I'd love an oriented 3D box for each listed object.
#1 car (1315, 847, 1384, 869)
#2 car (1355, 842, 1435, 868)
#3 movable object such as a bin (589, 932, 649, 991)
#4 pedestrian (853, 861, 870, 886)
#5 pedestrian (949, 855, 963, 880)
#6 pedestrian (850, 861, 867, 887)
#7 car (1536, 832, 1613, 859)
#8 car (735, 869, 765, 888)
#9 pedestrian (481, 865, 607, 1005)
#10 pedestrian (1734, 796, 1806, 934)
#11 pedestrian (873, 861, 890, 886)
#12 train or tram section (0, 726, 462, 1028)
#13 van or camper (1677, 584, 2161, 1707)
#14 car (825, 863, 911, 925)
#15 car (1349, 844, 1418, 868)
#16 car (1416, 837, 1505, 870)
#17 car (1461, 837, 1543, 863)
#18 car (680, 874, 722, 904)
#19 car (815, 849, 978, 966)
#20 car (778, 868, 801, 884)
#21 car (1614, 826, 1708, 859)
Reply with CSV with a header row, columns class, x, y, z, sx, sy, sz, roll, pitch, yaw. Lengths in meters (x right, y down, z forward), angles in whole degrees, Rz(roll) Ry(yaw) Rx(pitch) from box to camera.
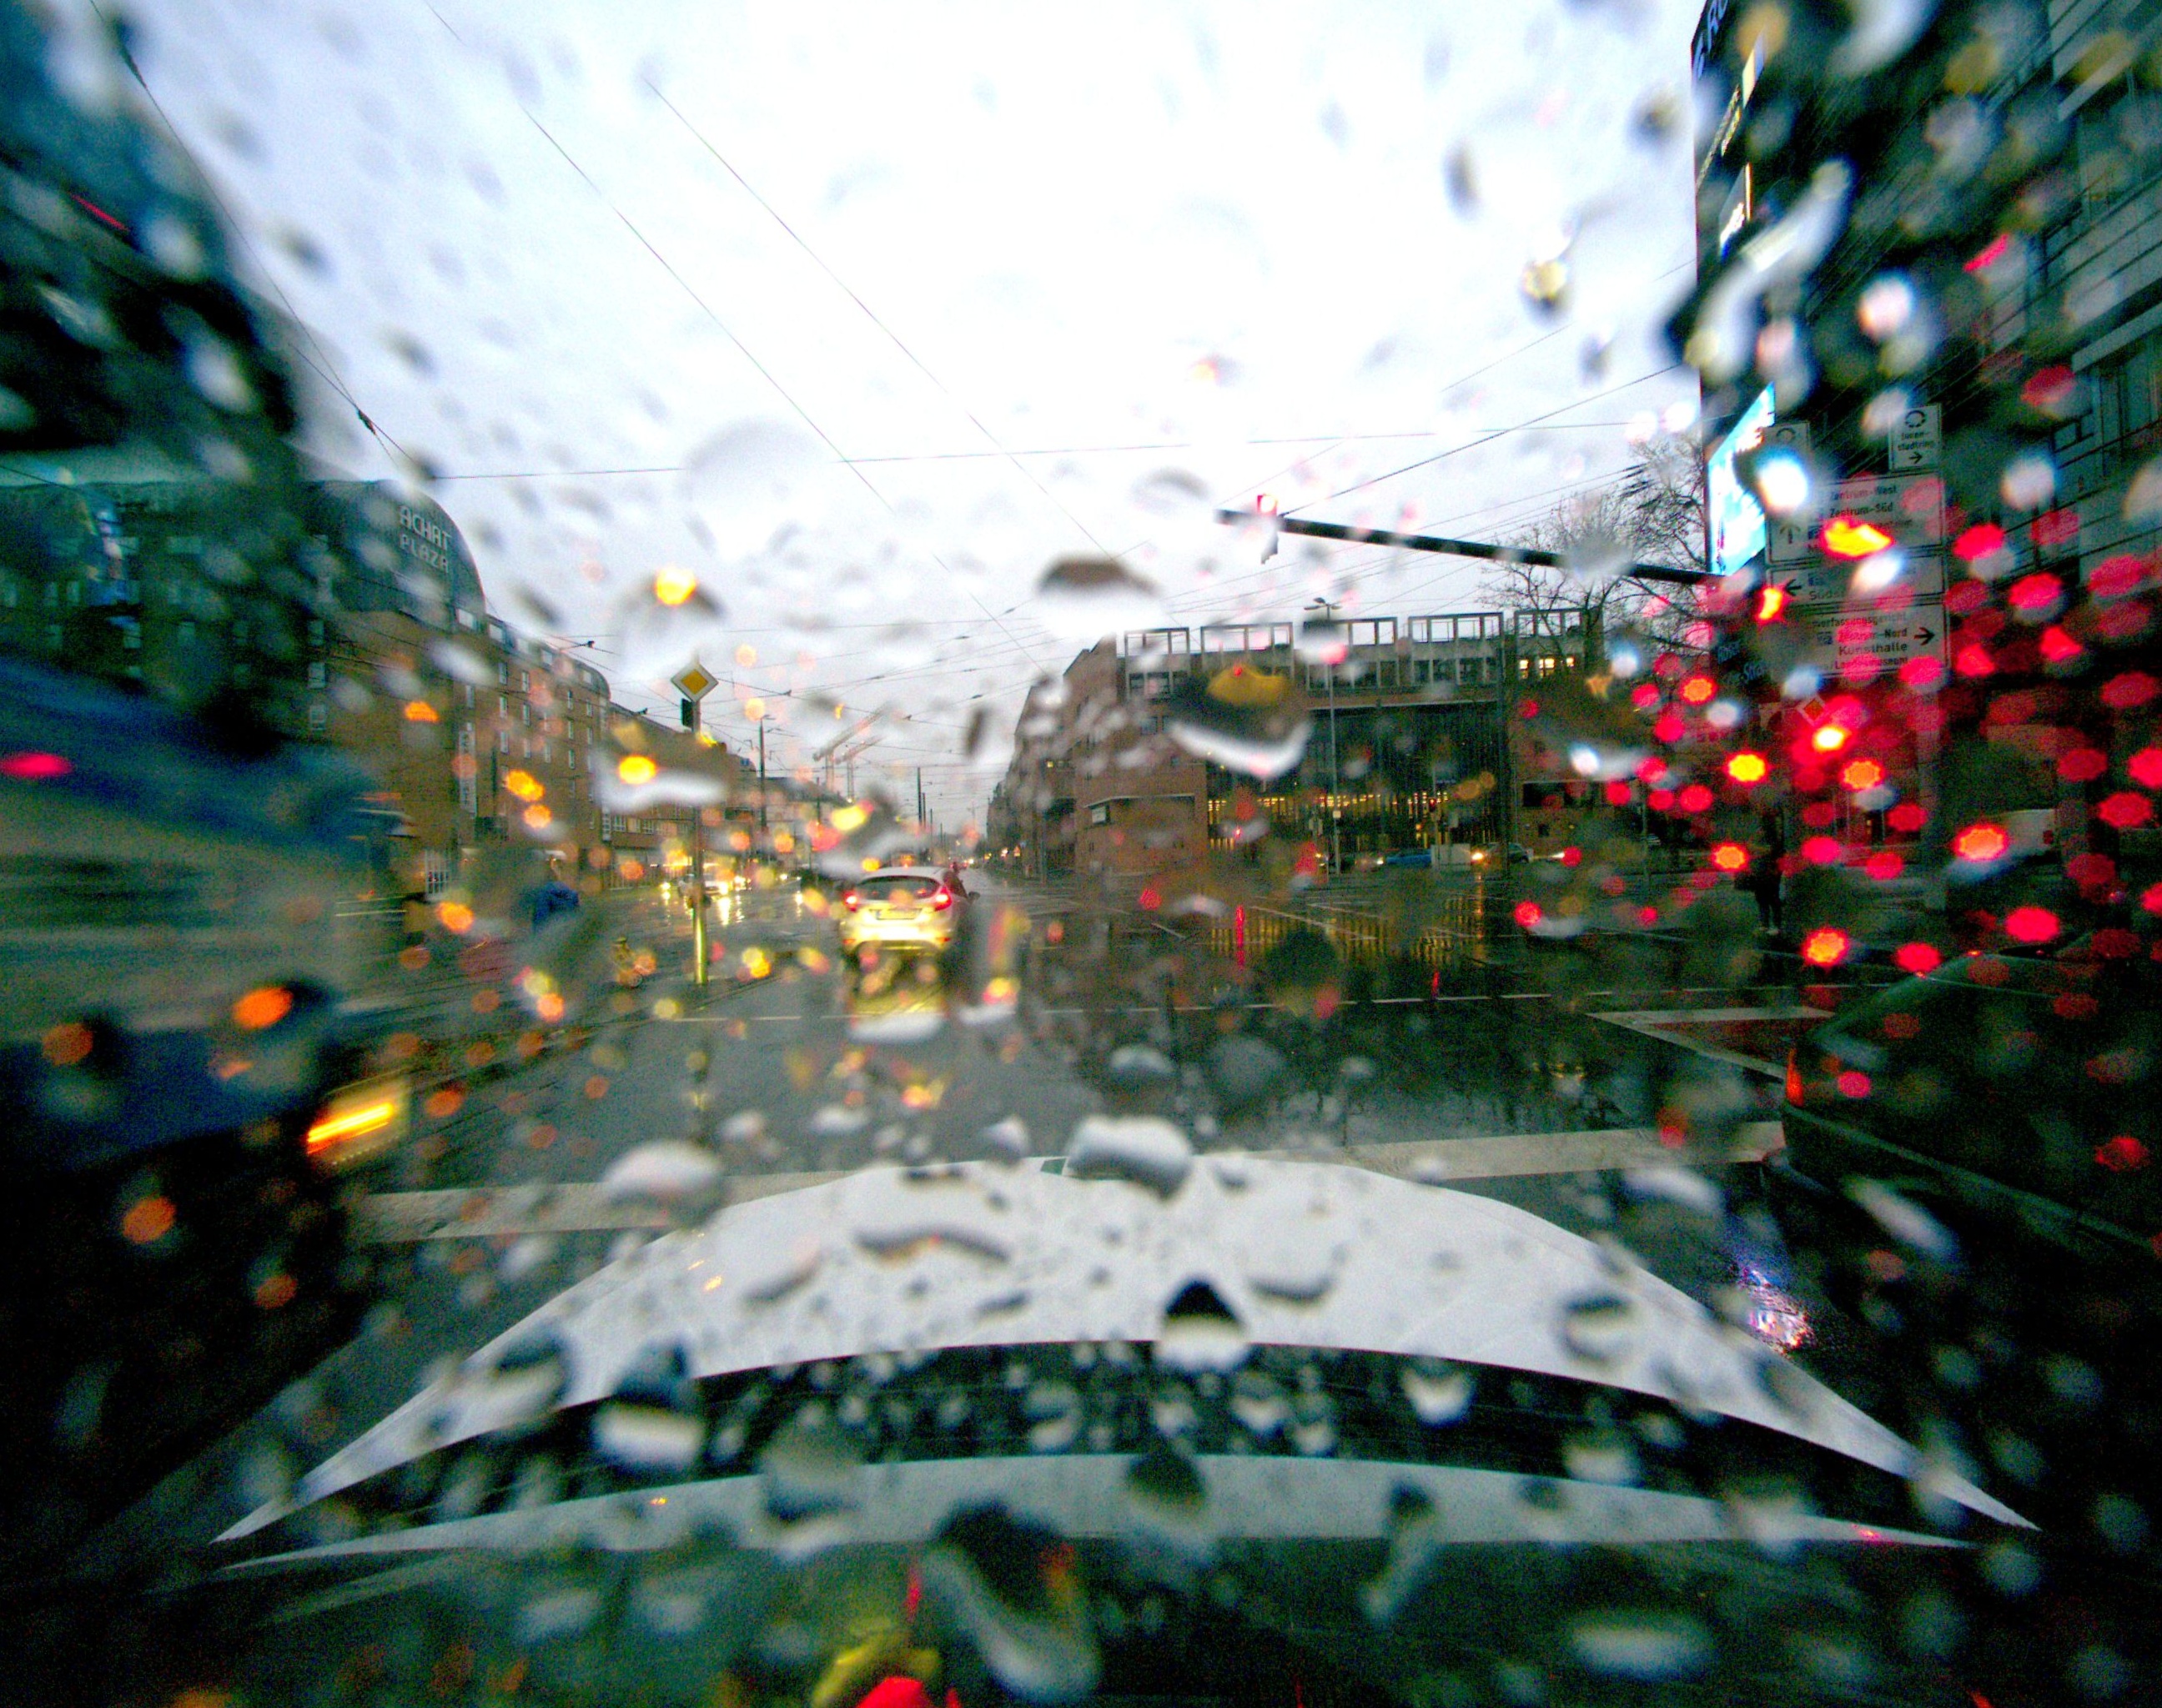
class,x,y,z,sx,sy,sz,roll,pitch,yaw
car,18.243,0.296,55.455,3.977,1.310,1.998,-2,0,-2
car,18.309,0.020,47.536,3.979,1.263,1.845,-2,4,-4
movable object such as a bin,-6.059,1.403,10.696,0.407,0.699,0.541,-5,-2,36
pedestrian,-17.810,1.601,66.010,0.973,2.014,0.838,-1,-1,16
pedestrian,-10.286,1.148,67.101,1.069,2.013,0.682,-2,0,-12
pedestrian,-17.780,1.589,64.945,0.973,2.014,0.838,-1,-1,16
car,32.157,-0.566,53.084,3.979,1.504,1.845,-2,4,-4
car,-30.575,2.204,75.346,1.787,1.624,3.850,-1,0,-11
pedestrian,-6.639,0.968,10.092,0.706,1.601,1.043,-5,-1,34
pedestrian,11.265,0.178,13.338,0.574,2.184,0.619,-1,-1,-4
pedestrian,-16.408,1.596,67.039,0.973,2.014,0.838,-1,-1,16
train or tram section,-14.375,0.312,7.339,2.855,3.614,19.209,-2,0,0
van or camper,2.670,0.491,0.310,1.750,1.906,4.420,-1,0,2
car,-5.801,1.009,21.896,1.705,1.459,3.729,-2,0,-22
car,19.142,0.125,51.605,3.713,1.263,1.845,-2,4,-4
car,20.430,-0.051,43.903,3.979,1.504,1.845,-2,4,-4
car,24.816,-0.246,48.089,3.979,1.288,1.845,-2,4,-4
car,-21.916,1.960,46.997,2.054,1.561,4.794,-2,0,-25
car,-2.697,0.814,12.812,1.701,1.448,3.996,-4,-3,-2
car,-31.814,2.367,88.892,1.787,1.624,3.850,-1,0,-11
car,32.244,-0.641,45.340,3.979,1.600,1.845,-2,4,-4
